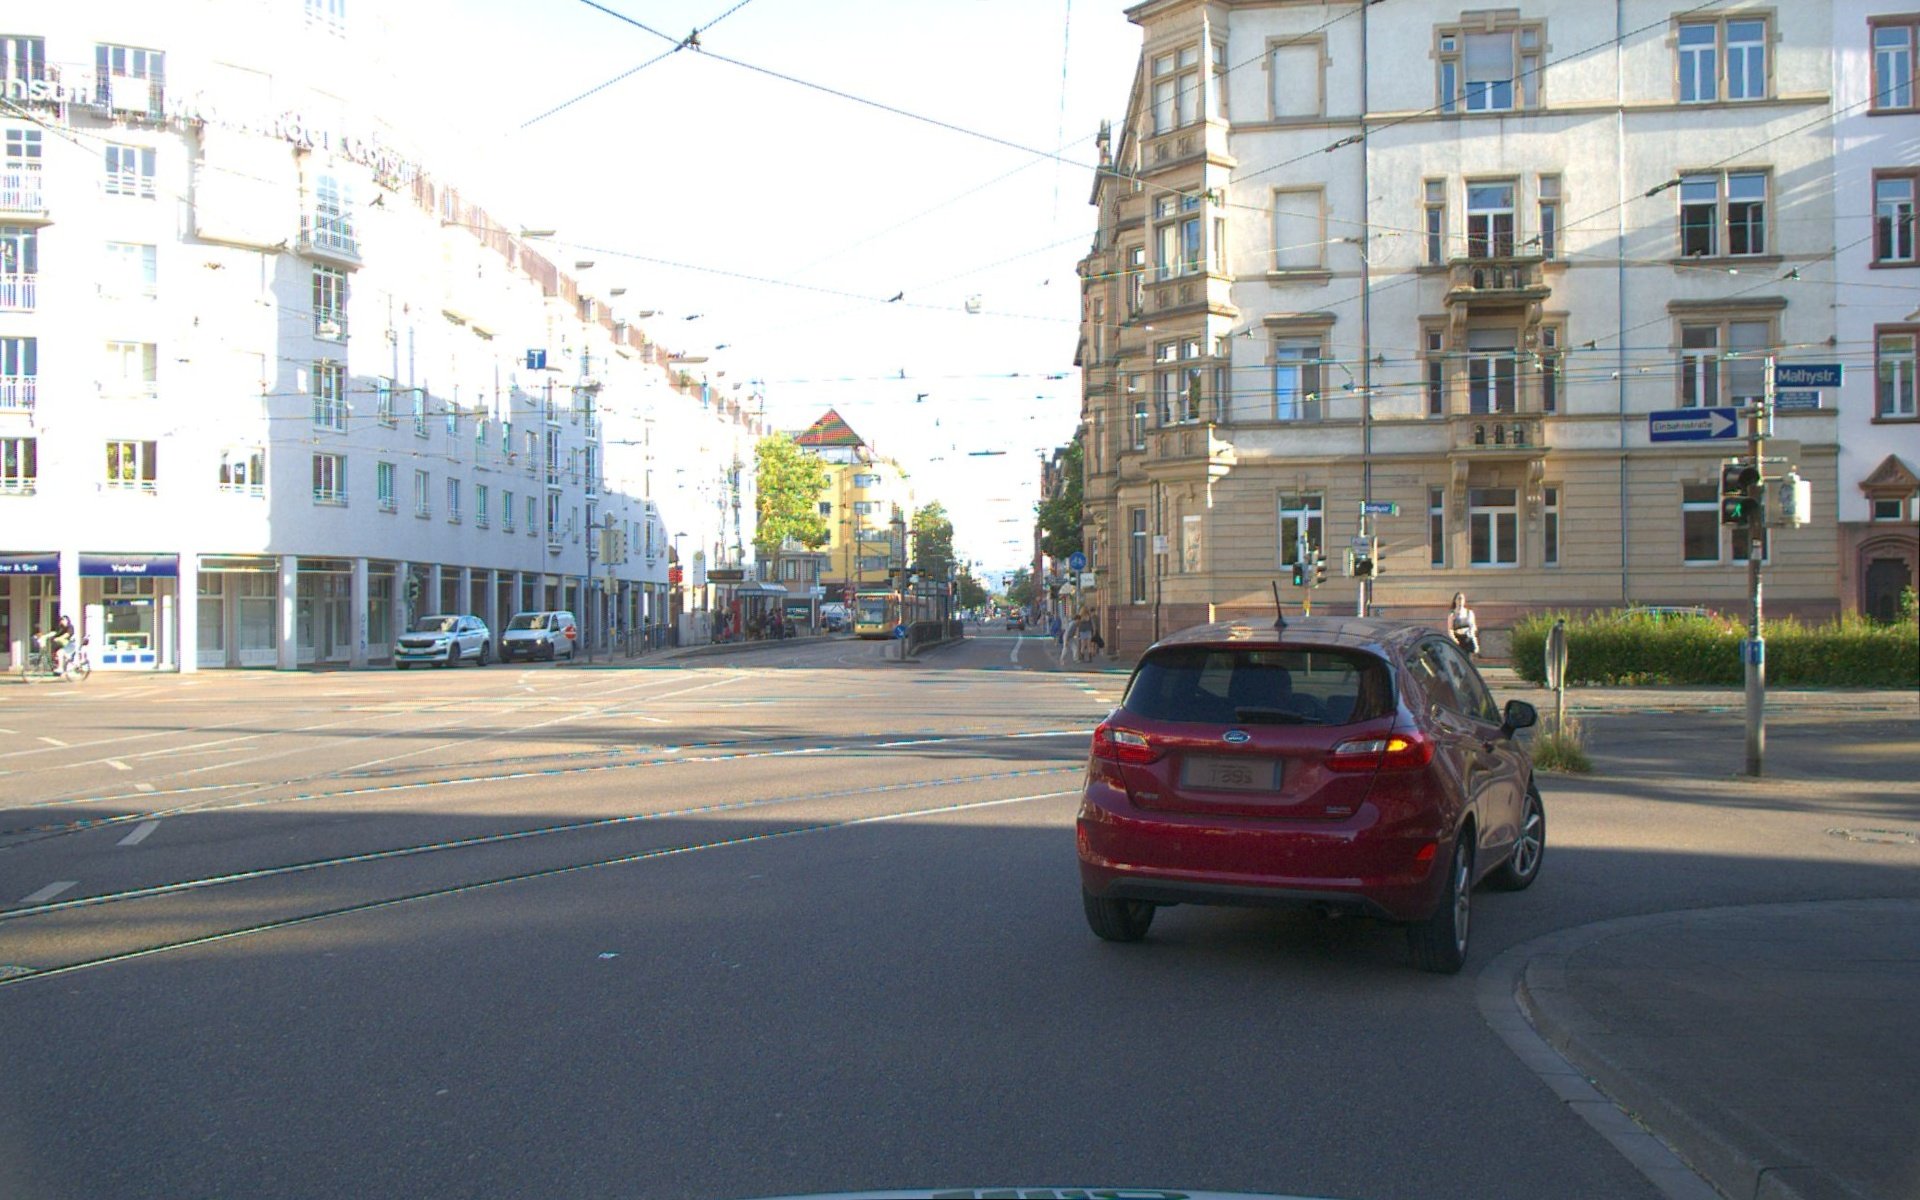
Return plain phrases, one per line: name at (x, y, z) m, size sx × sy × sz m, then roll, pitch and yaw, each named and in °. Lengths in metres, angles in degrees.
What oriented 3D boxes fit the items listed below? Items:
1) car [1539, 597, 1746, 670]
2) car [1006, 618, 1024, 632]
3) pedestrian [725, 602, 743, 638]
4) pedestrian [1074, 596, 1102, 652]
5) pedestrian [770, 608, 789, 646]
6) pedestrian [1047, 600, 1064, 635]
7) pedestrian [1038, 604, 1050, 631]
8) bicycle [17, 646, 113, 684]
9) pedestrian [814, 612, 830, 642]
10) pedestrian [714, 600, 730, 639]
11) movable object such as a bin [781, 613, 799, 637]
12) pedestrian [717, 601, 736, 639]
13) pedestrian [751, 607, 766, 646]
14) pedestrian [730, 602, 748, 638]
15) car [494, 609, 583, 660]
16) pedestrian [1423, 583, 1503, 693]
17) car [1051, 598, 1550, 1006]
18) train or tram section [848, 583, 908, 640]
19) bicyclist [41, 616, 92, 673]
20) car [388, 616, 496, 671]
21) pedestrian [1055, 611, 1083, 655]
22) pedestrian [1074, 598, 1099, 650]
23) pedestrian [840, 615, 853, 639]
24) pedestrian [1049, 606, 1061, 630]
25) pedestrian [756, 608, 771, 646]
car at (15.985, 0.795, 38.955) m, size 4.167 × 1.660 × 1.946 m, roll -1°, pitch -1°, yaw 10°
car at (6.121, 2.781, 184.201) m, size 1.952 × 1.475 × 4.001 m, roll 0°, pitch 0°, yaw 2°
pedestrian at (-10.717, 0.954, 78.348) m, size 0.686 × 1.721 × 0.668 m, roll 0°, pitch -1°, yaw -22°
pedestrian at (4.085, 0.785, 52.826) m, size 0.778 × 1.751 × 0.719 m, roll -2°, pitch -2°, yaw -1°
pedestrian at (-9.408, 1.405, 86.168) m, size 0.913 × 1.938 × 0.881 m, roll 0°, pitch -1°, yaw -1°
pedestrian at (4.746, 0.851, 81.911) m, size 0.747 × 1.674 × 0.832 m, roll -2°, pitch 0°, yaw 1°
pedestrian at (5.930, 1.235, 116.195) m, size 0.699 × 1.805 × 0.773 m, roll -3°, pitch 0°, yaw -1°
bicycle at (-23.972, 1.730, 44.358) m, size 0.823 × 0.943 × 2.265 m, roll -1°, pitch 0°, yaw 21°
pedestrian at (-8.827, 1.735, 105.749) m, size 0.863 × 1.938 × 0.931 m, roll 0°, pitch -1°, yaw -14°
pedestrian at (-10.645, 0.884, 73.918) m, size 0.586 × 1.721 × 0.613 m, roll 0°, pitch -1°, yaw 2°
movable object such as a bin at (-9.518, 1.385, 92.445) m, size 0.918 × 1.309 × 0.935 m, roll 0°, pitch -1°, yaw 0°
pedestrian at (-10.736, 0.916, 76.004) m, size 0.753 × 1.763 × 0.517 m, roll -1°, pitch -2°, yaw 44°
pedestrian at (-10.241, 1.355, 84.078) m, size 0.681 × 1.938 × 0.672 m, roll 0°, pitch -1°, yaw -1°
pedestrian at (-10.688, 0.981, 79.945) m, size 0.686 × 1.721 × 0.668 m, roll 0°, pitch -1°, yaw -22°
car at (-16.208, 1.289, 63.860) m, size 1.952 × 1.870 × 5.347 m, roll -1°, pitch 0°, yaw 1°
pedestrian at (8.593, 0.642, 28.301) m, size 1.002 × 1.838 × 1.083 m, roll -1°, pitch -1°, yaw -1°
car at (1.895, 0.789, 8.265) m, size 1.658 × 1.522 × 3.577 m, roll 1°, pitch 0°, yaw 25°
train or tram section at (-5.457, 0.846, 112.974) m, size 2.825 × 3.551 × 14.170 m, roll -2°, pitch -1°, yaw 2°
bicyclist at (-23.971, 1.186, 44.378) m, size 0.823 × 1.493 × 0.896 m, roll -1°, pitch -1°, yaw 21°
car at (-16.581, 1.351, 53.150) m, size 1.952 × 1.648 × 4.511 m, roll -1°, pitch 0°, yaw 1°
pedestrian at (3.454, 1.040, 52.357) m, size 0.778 × 1.355 × 0.719 m, roll -2°, pitch -2°, yaw 0°
pedestrian at (4.609, 0.883, 60.327) m, size 0.784 × 1.856 × 0.798 m, roll -2°, pitch 0°, yaw 1°
pedestrian at (-9.309, 2.209, 135.464) m, size 0.863 × 1.938 × 0.931 m, roll 0°, pitch -1°, yaw -14°
pedestrian at (6.658, 1.248, 116.088) m, size 0.699 × 1.630 × 0.773 m, roll -3°, pitch 0°, yaw -1°
pedestrian at (-10.060, 1.367, 84.632) m, size 0.681 × 1.938 × 0.672 m, roll 0°, pitch -1°, yaw -1°
